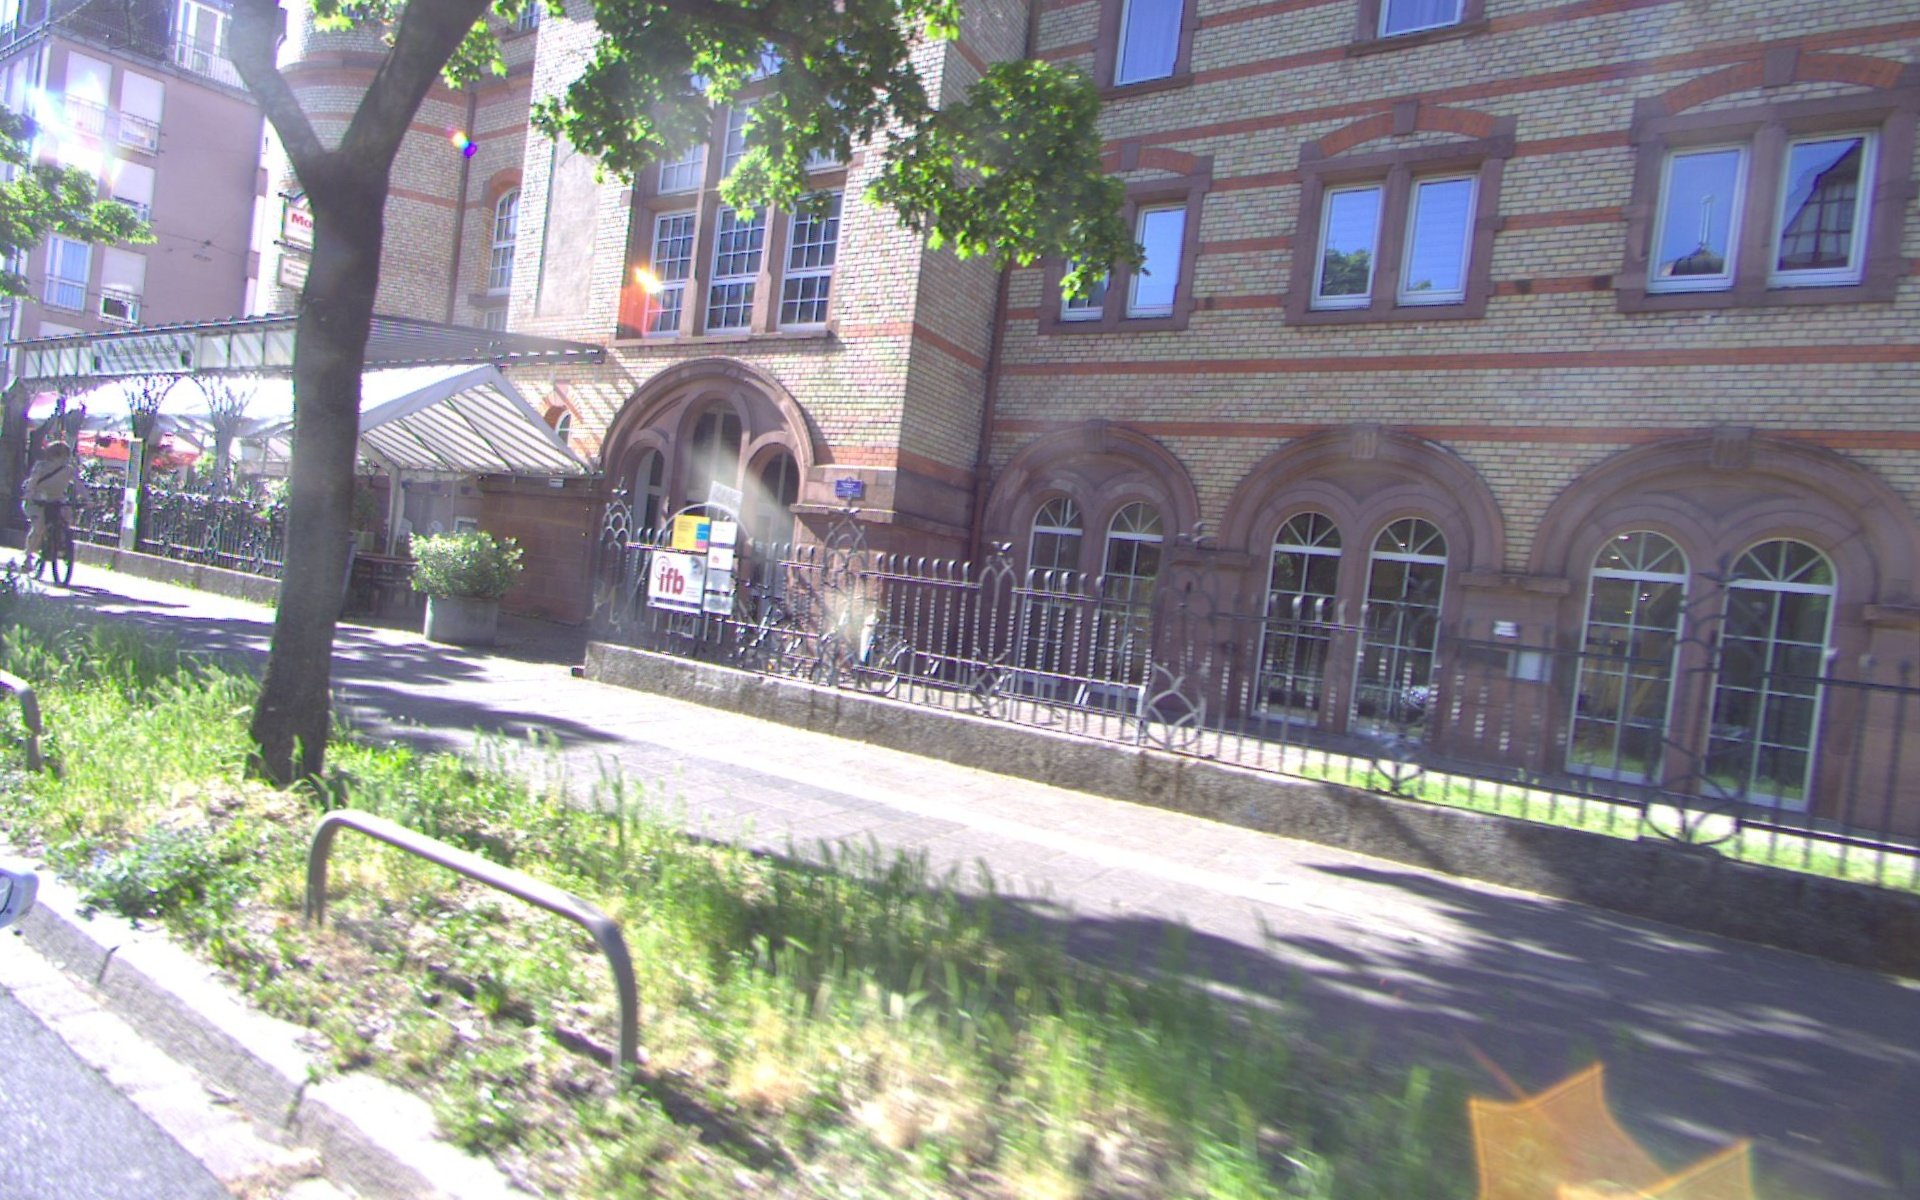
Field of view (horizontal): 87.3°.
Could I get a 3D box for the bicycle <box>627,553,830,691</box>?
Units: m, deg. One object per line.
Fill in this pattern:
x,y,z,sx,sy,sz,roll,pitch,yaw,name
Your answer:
-2.261,0.252,10.190,0.675,1.193,2.200,6,0,26,bicycle

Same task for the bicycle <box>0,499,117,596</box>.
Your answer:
-11.455,-0.679,12.602,2.061,1.040,0.686,6,1,31,bicycle

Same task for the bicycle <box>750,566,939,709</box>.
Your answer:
-1.054,0.382,9.887,0.675,1.193,2.200,6,0,26,bicycle

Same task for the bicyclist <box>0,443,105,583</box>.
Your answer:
-11.391,-1.082,12.578,0.939,1.619,0.701,7,1,31,bicyclist
